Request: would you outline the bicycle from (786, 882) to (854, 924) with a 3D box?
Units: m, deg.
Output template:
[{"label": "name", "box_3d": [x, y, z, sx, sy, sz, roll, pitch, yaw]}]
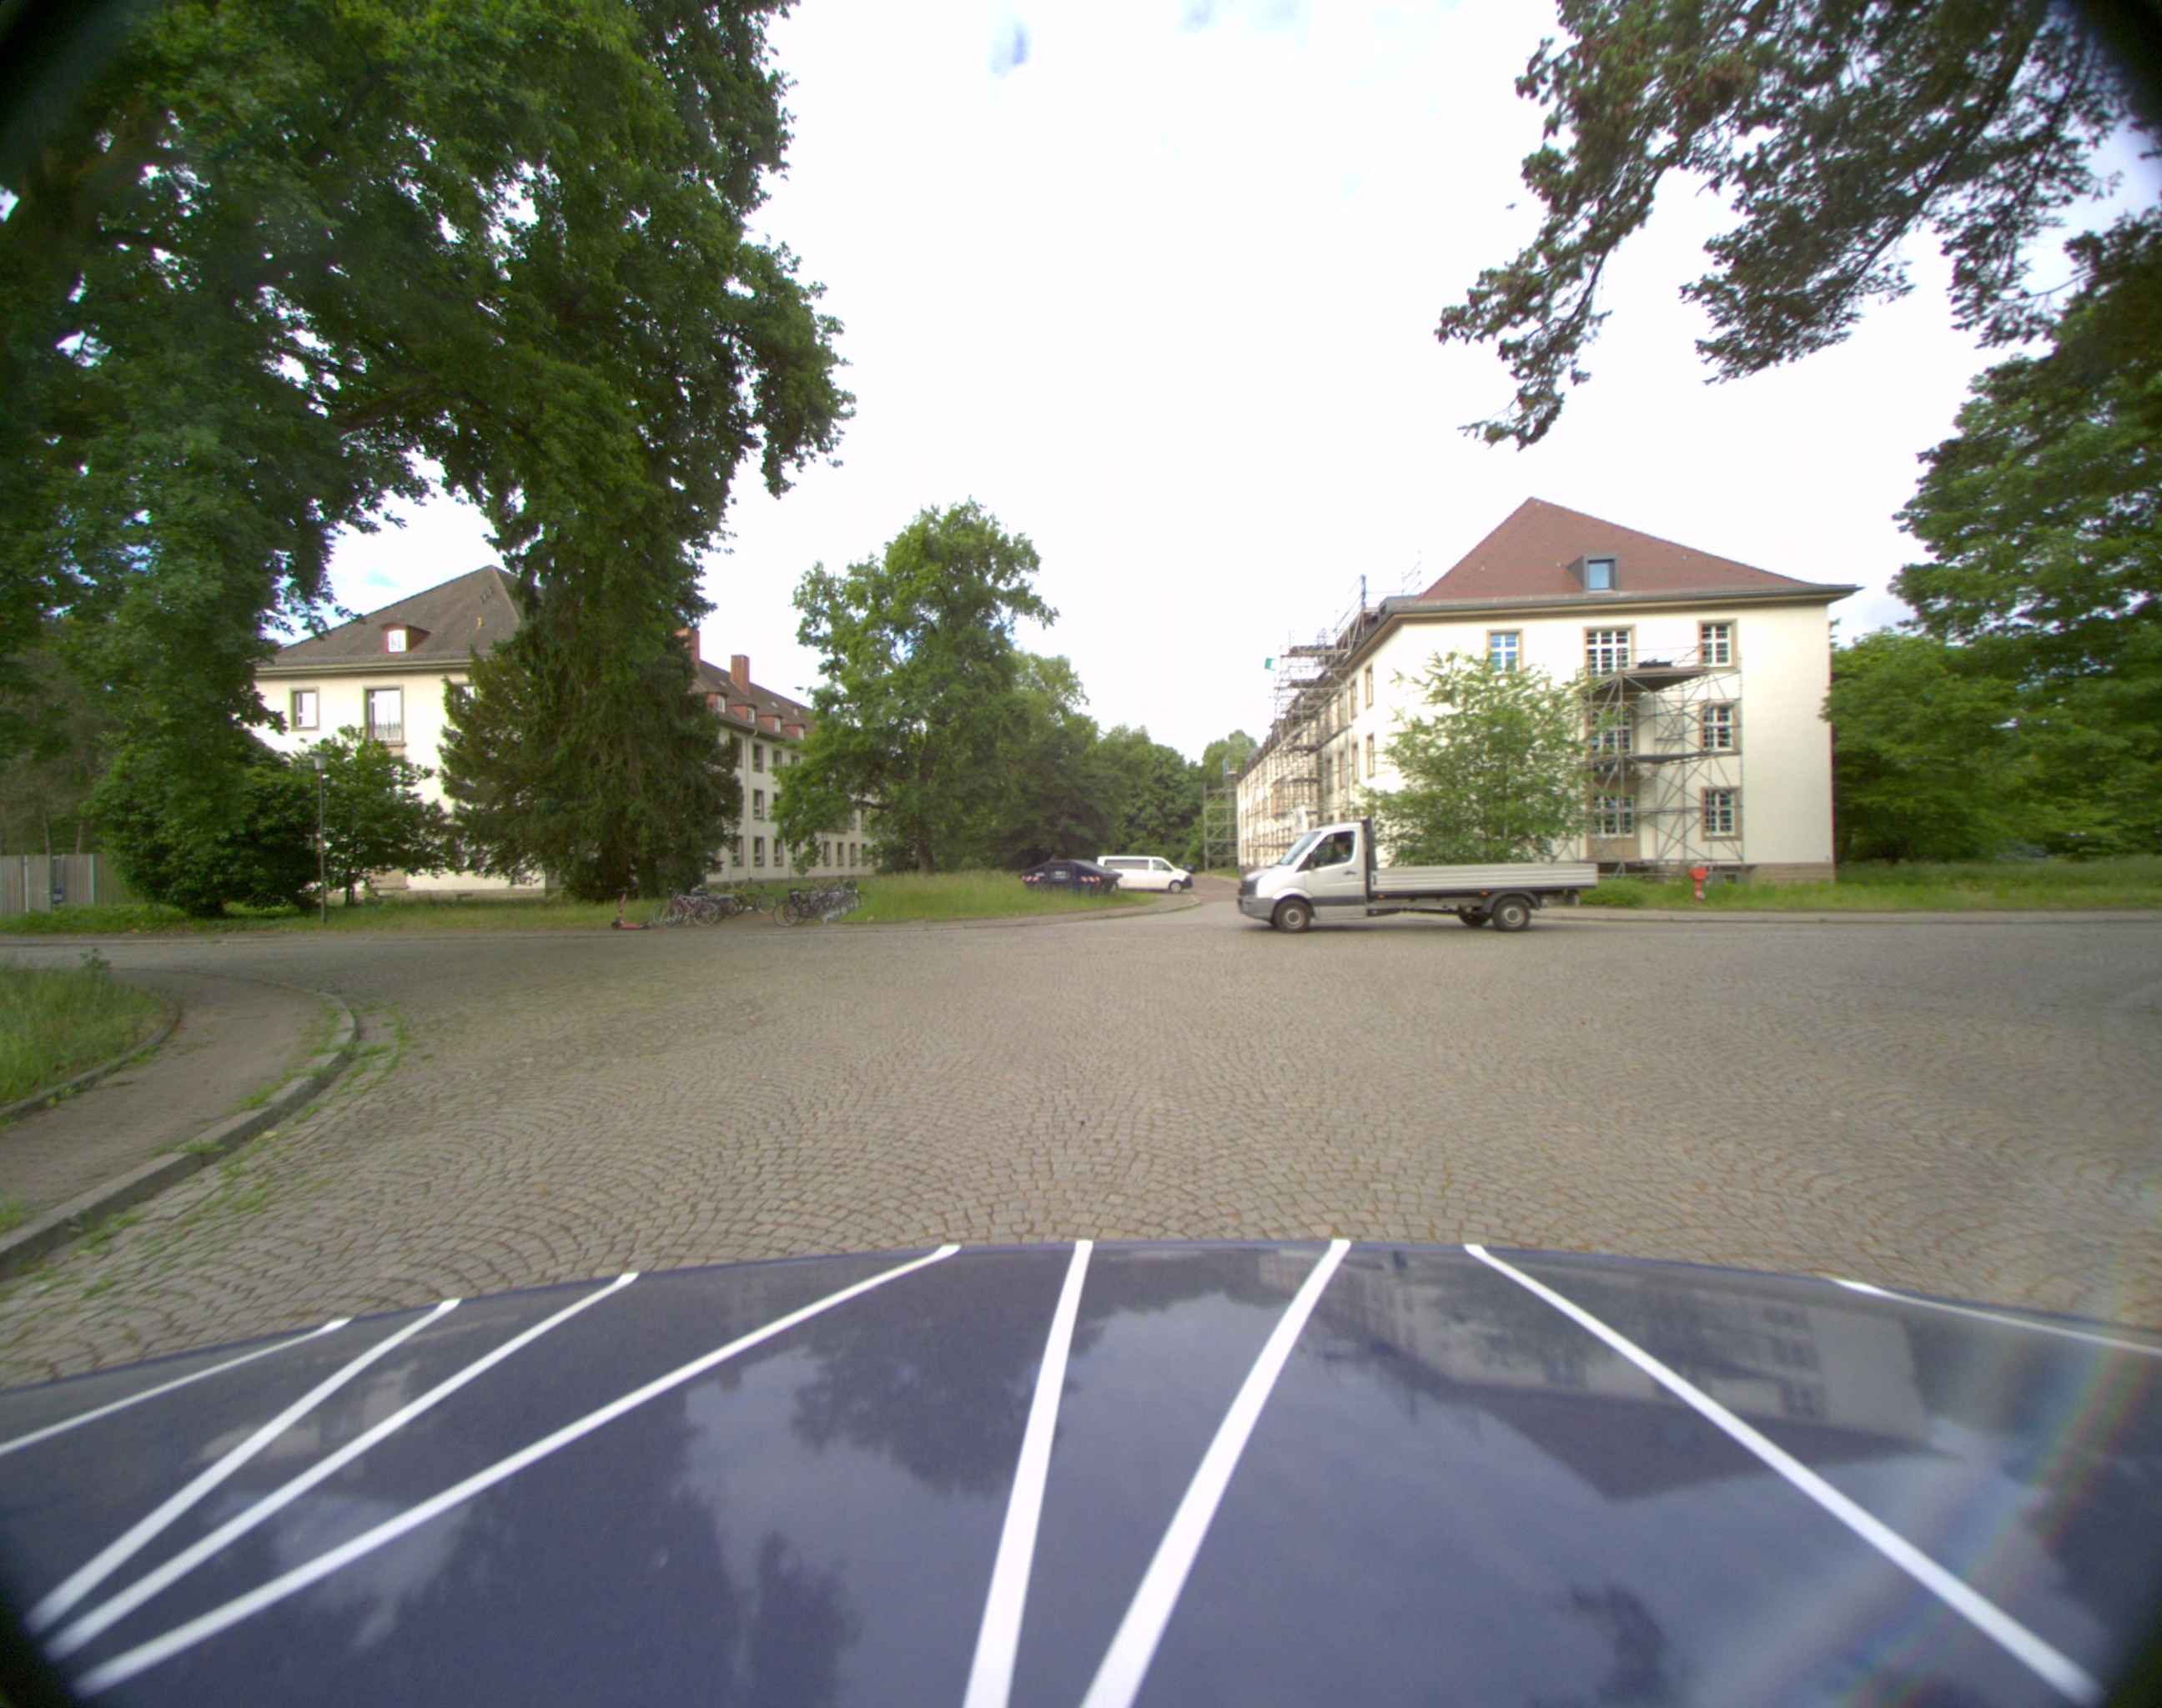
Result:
[{"label": "bicycle", "box_3d": [-8.158, 1.509, 23.802, 1.941, 1.163, 0.487, -3, 0, -19]}]

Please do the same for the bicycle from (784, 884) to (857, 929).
[{"label": "bicycle", "box_3d": [-7.619, 1.516, 22.210, 1.941, 1.163, 0.487, -3, 0, -22]}]

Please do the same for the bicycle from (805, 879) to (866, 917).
[{"label": "bicycle", "box_3d": [-8.411, 1.508, 26.086, 1.941, 1.163, 0.487, -3, 0, -16]}]

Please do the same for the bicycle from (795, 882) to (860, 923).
[{"label": "bicycle", "box_3d": [-8.176, 1.561, 24.588, 1.941, 1.163, 0.487, -3, 0, -16]}]

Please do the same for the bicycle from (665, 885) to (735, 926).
[{"label": "bicycle", "box_3d": [-11.806, 1.598, 23.577, 1.860, 1.163, 0.487, -2, 0, -16]}]

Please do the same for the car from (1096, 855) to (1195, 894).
[{"label": "car", "box_3d": [3.490, 1.093, 40.985, 5.147, 2.002, 2.001, -1, 0, 5]}]

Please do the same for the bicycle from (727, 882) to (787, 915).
[{"label": "bicycle", "box_3d": [-11.438, 1.569, 26.847, 1.859, 1.163, 0.488, 0, 0, -4]}]

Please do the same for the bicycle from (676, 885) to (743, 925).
[{"label": "bicycle", "box_3d": [-11.875, 1.607, 24.355, 1.861, 1.163, 0.487, -2, 0, -23]}]

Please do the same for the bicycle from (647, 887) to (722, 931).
[{"label": "bicycle", "box_3d": [-11.605, 1.603, 22.272, 1.861, 1.163, 0.487, -2, 0, -20]}]

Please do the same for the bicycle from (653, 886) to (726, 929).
[{"label": "bicycle", "box_3d": [-11.750, 1.589, 22.856, 1.861, 1.163, 0.487, -2, 0, -20]}]

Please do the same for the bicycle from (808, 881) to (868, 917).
[{"label": "bicycle", "box_3d": [-8.724, 1.608, 27.361, 1.940, 1.163, 0.537, -3, 0, -10]}]

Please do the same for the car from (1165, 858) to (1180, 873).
[{"label": "car", "box_3d": [12.803, 1.554, 106.603, 1.962, 2.002, 4.262, -1, 0, 4]}]

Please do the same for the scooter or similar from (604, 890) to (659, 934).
[{"label": "scooter or similar", "box_3d": [-12.766, 1.651, 21.599, 1.307, 1.163, 0.413, -3, 0, 4]}]

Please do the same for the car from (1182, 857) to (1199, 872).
[{"label": "car", "box_3d": [15.350, 1.498, 106.599, 1.962, 2.002, 4.262, -1, 0, 4]}]

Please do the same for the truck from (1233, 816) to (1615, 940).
[{"label": "truck", "box_3d": [6.946, 0.529, 16.136, 7.079, 2.352, 1.994, -1, -1, 5]}]

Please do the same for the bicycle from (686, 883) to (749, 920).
[{"label": "bicycle", "box_3d": [-12.324, 1.601, 25.798, 1.861, 1.163, 0.487, -2, 0, -23]}]

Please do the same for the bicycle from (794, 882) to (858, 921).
[{"label": "bicycle", "box_3d": [-8.537, 1.585, 25.482, 1.941, 1.163, 0.487, -3, 0, -16]}]

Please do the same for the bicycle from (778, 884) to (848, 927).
[{"label": "bicycle", "box_3d": [-8.155, 1.549, 23.185, 1.941, 1.163, 0.487, -3, 0, -19]}]

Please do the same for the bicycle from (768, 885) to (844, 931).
[{"label": "bicycle", "box_3d": [-7.797, 1.520, 21.546, 1.941, 1.163, 0.487, -3, 0, -22]}]
